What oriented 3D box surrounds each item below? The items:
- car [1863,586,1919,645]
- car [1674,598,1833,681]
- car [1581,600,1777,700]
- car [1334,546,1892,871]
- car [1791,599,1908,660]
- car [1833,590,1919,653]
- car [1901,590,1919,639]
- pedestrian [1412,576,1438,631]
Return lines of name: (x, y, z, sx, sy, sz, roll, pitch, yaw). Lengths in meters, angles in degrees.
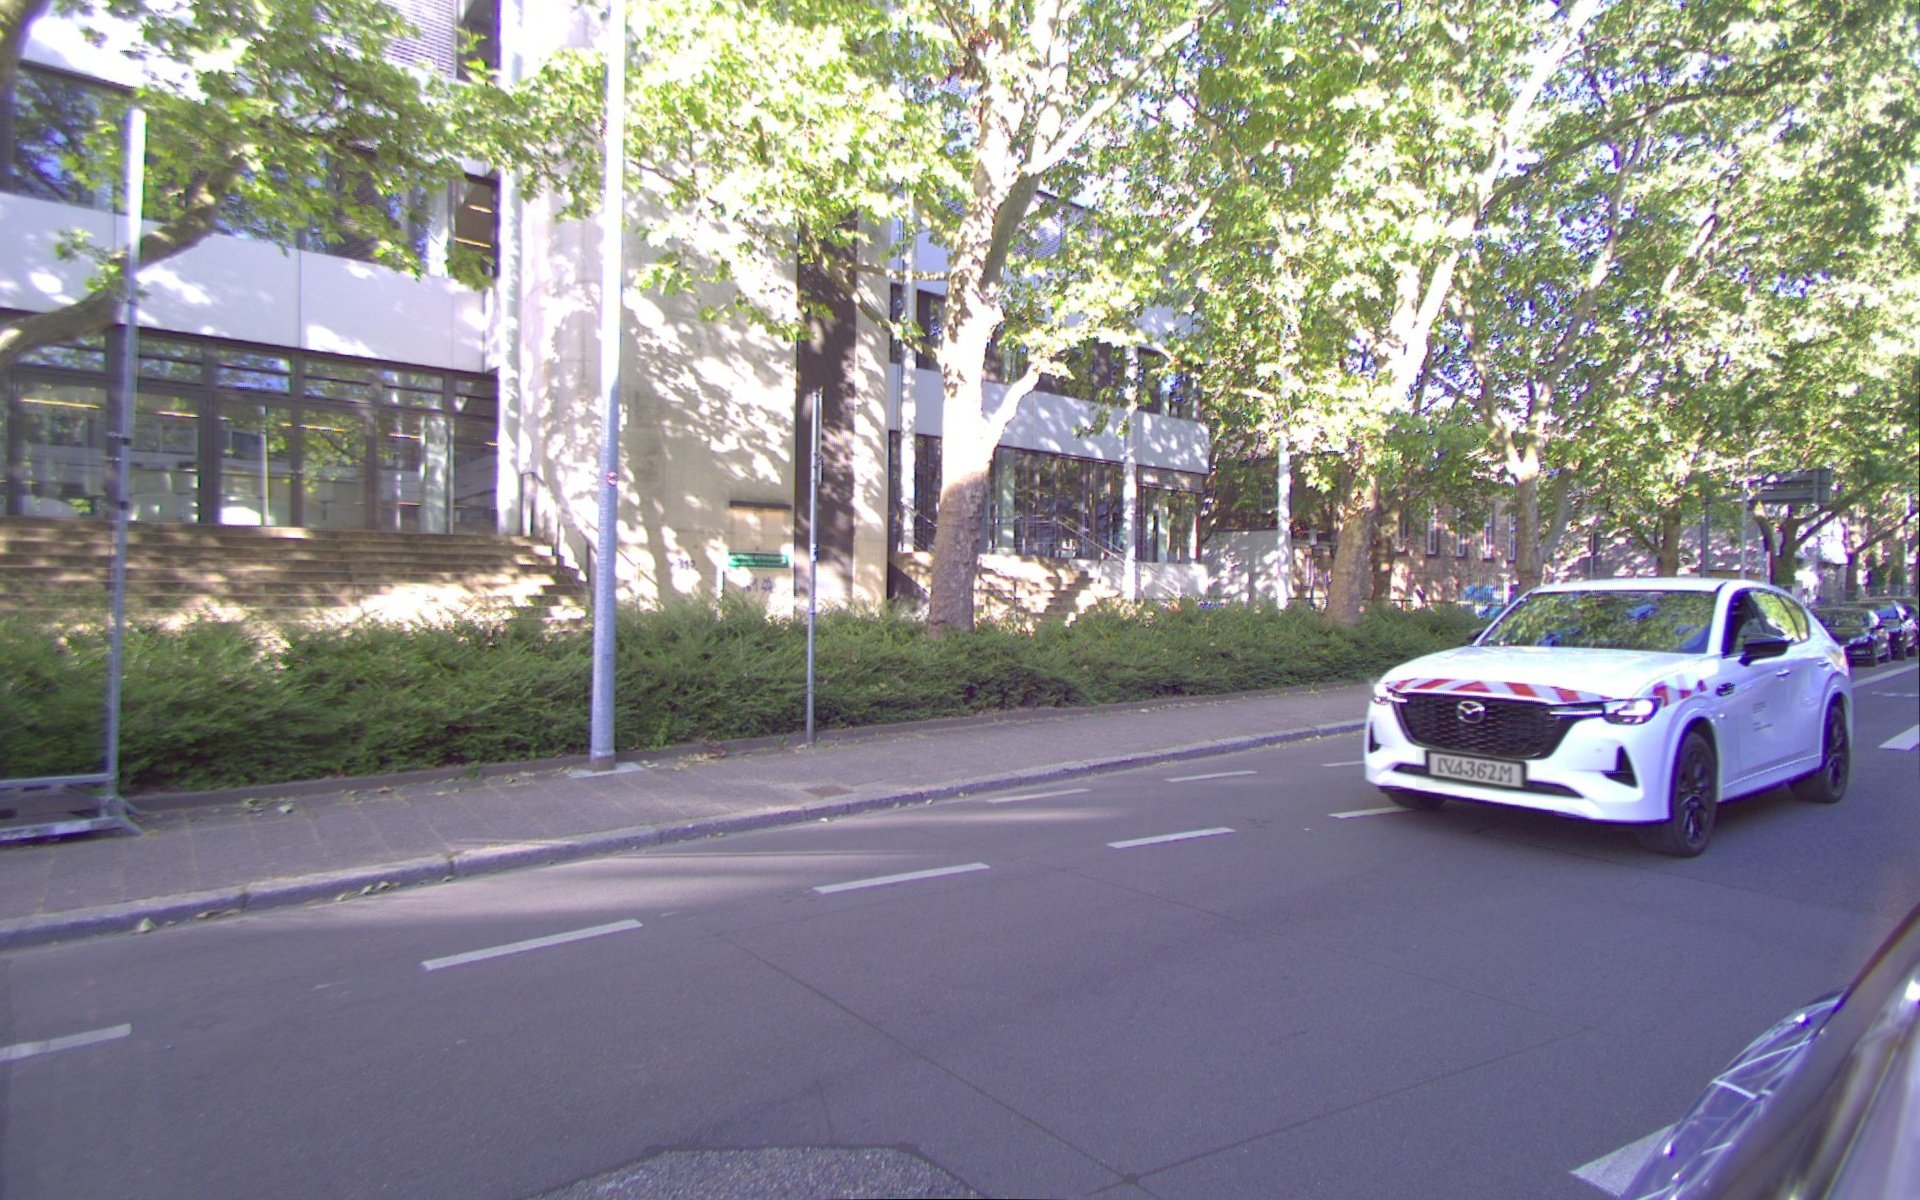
car: (30.962, 0.484, 32.964, 4.370, 1.844, 1.753, 0, -1, -41)
car: (15.693, 0.718, 19.962, 3.841, 1.486, 1.753, 0, -1, -41)
car: (11.841, 0.736, 16.586, 3.841, 1.451, 1.753, 0, -1, -41)
car: (4.947, 0.586, 7.475, 4.398, 1.730, 1.949, 0, -1, -35)
car: (22.938, 0.713, 26.061, 3.841, 1.451, 1.753, 0, -1, -41)
car: (26.705, 0.583, 29.173, 4.101, 1.674, 1.753, 0, -1, -41)
car: (36.185, 0.513, 37.260, 4.370, 1.750, 1.753, 0, -1, -41)
pedestrian: (14.628, 0.102, 31.829, 0.649, 1.691, 0.525, 0, 0, -39)
